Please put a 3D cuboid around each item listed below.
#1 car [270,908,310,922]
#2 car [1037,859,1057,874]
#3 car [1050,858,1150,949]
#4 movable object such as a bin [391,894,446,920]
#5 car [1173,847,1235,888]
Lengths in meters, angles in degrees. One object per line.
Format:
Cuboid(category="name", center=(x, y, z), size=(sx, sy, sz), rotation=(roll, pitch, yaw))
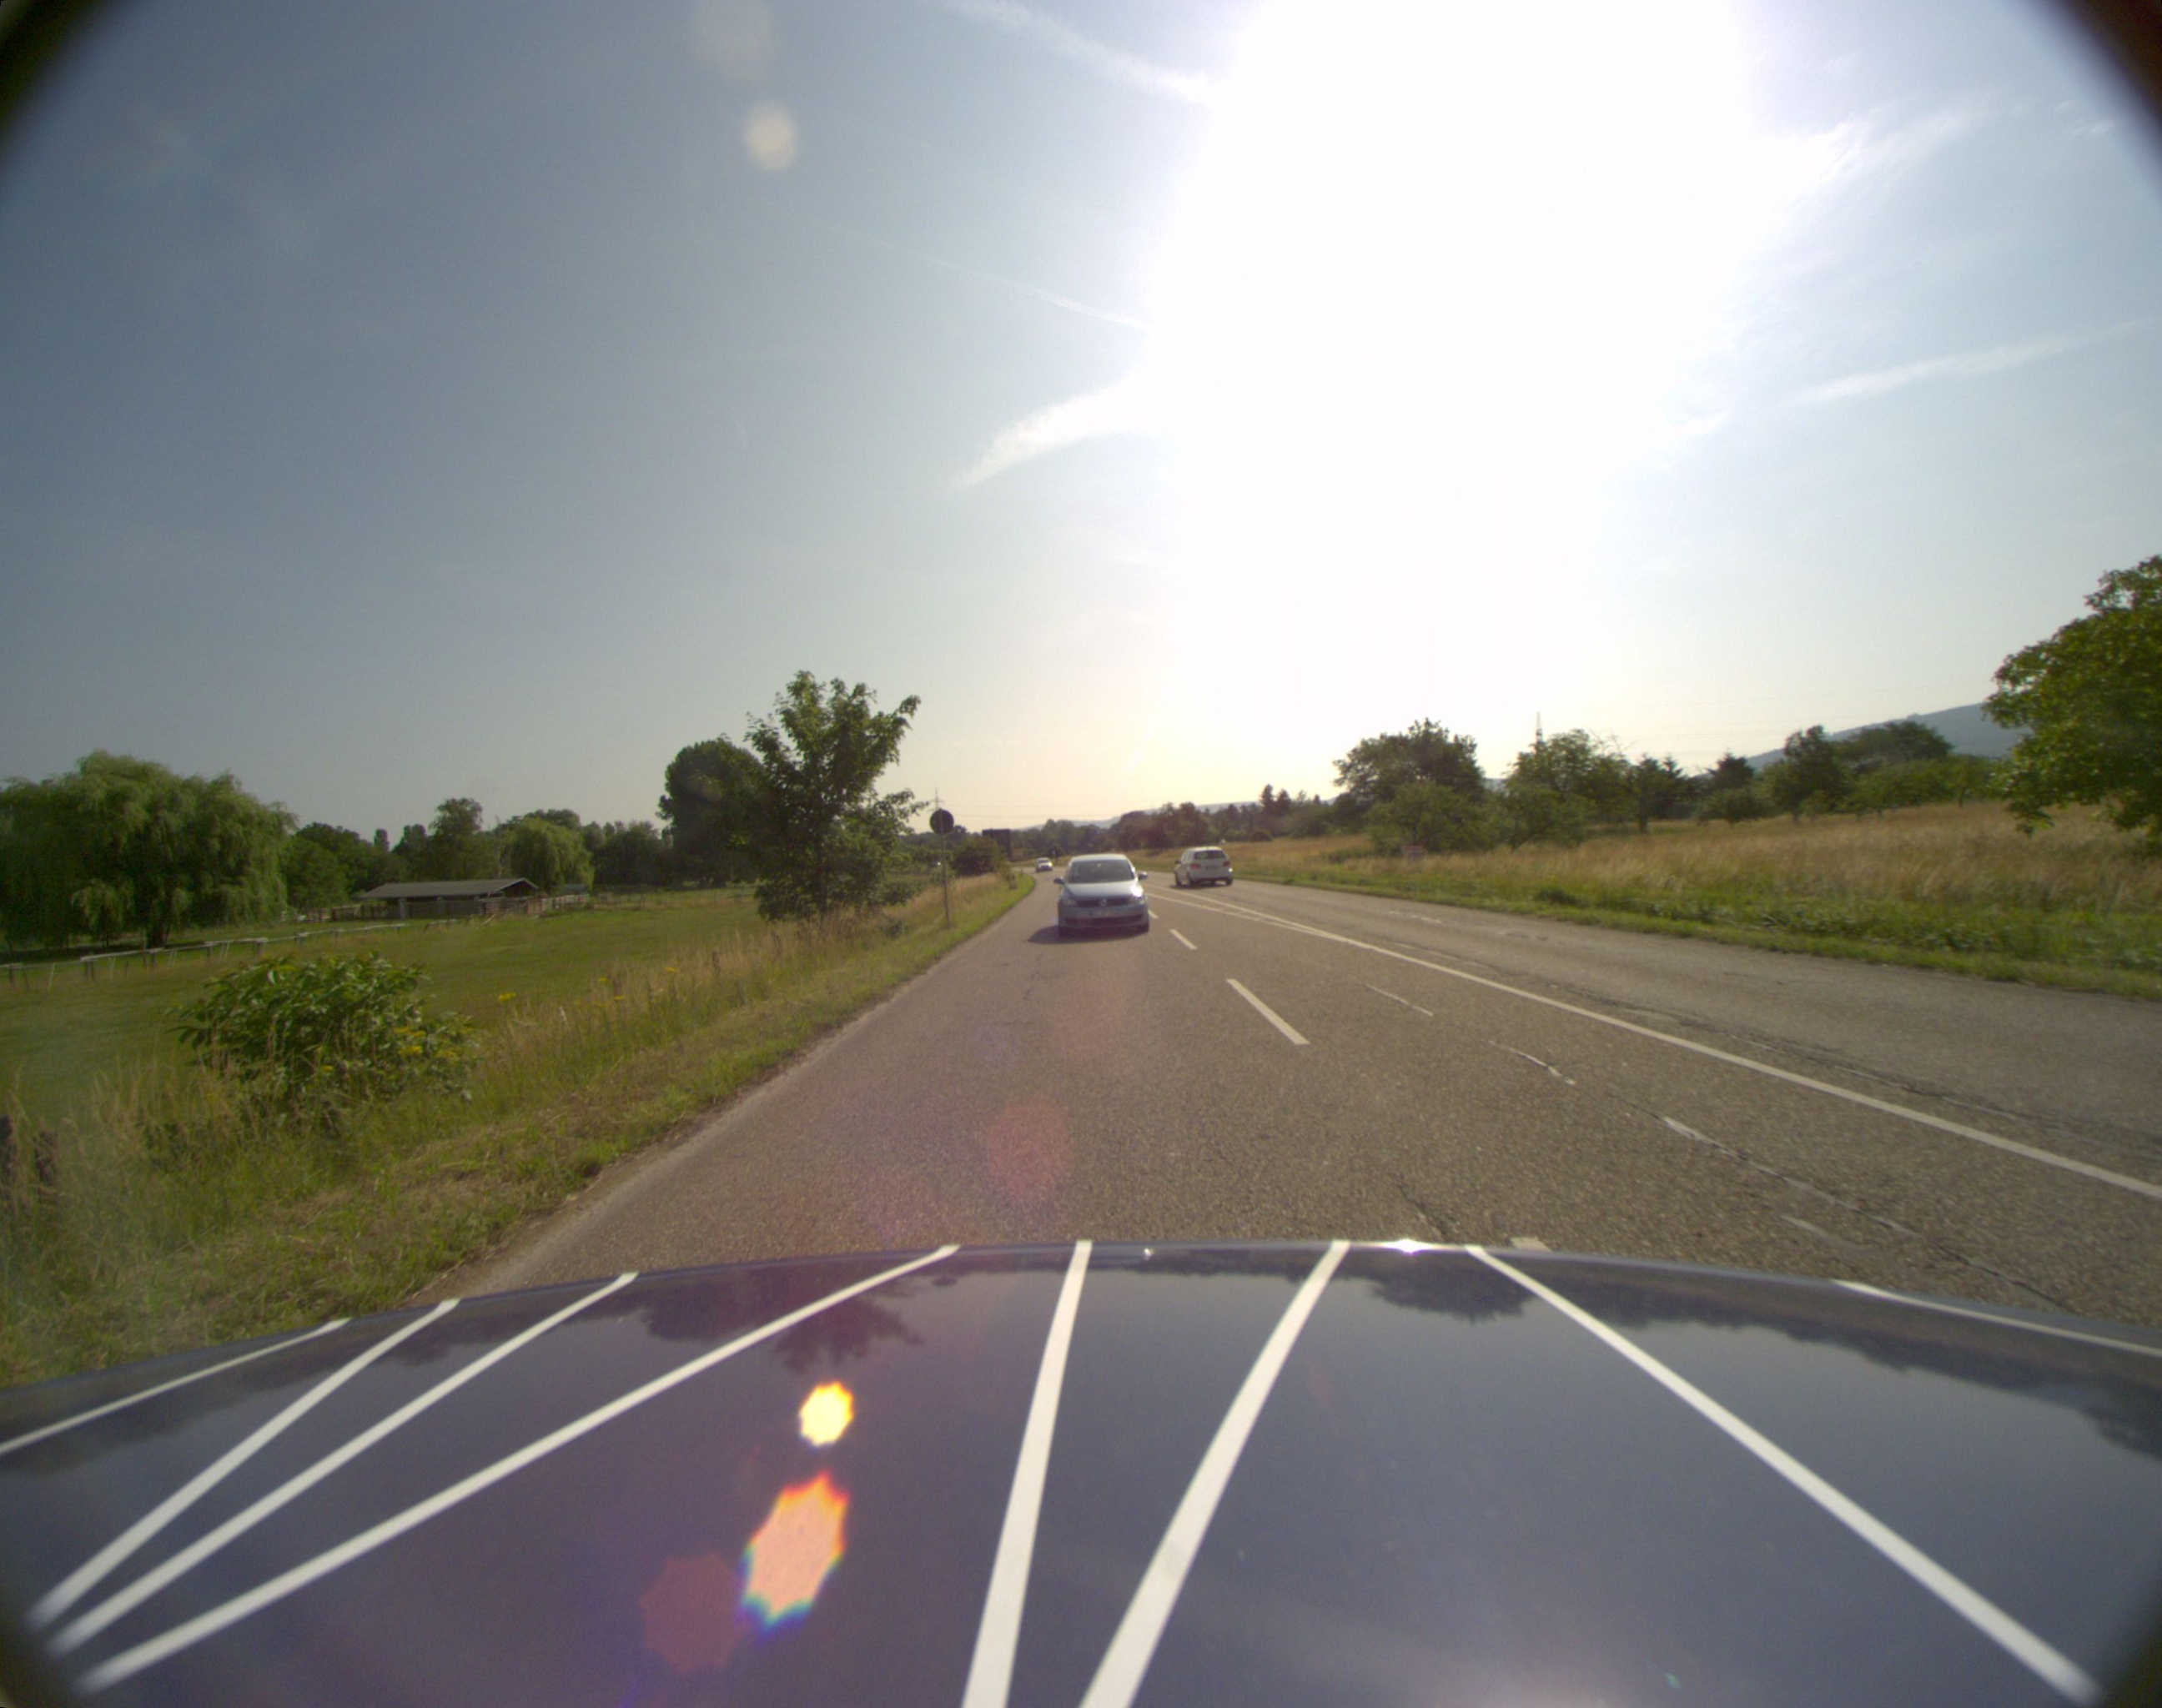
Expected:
Cuboid(category="car", center=(-75.404, 5.829, 72.450), size=(1.229, 0.999, 3.048), rotation=(-4, 0, -15))
Cuboid(category="car", center=(-3.945, 1.400, 88.503), size=(1.999, 1.571, 3.907), rotation=(-4, 0, -6))
Cuboid(category="car", center=(0.410, 0.906, 15.882), size=(1.718, 1.495, 4.094), rotation=(-4, 0, 2))
Cuboid(category="movable object such as a bin", center=(-65.561, 5.196, 75.261), size=(2.000, 2.181, 4.161), rotation=(-5, 0, -8))
Cuboid(category="car", center=(5.143, 0.523, 32.250), size=(1.817, 1.576, 4.223), rotation=(-2, 0, -1))
